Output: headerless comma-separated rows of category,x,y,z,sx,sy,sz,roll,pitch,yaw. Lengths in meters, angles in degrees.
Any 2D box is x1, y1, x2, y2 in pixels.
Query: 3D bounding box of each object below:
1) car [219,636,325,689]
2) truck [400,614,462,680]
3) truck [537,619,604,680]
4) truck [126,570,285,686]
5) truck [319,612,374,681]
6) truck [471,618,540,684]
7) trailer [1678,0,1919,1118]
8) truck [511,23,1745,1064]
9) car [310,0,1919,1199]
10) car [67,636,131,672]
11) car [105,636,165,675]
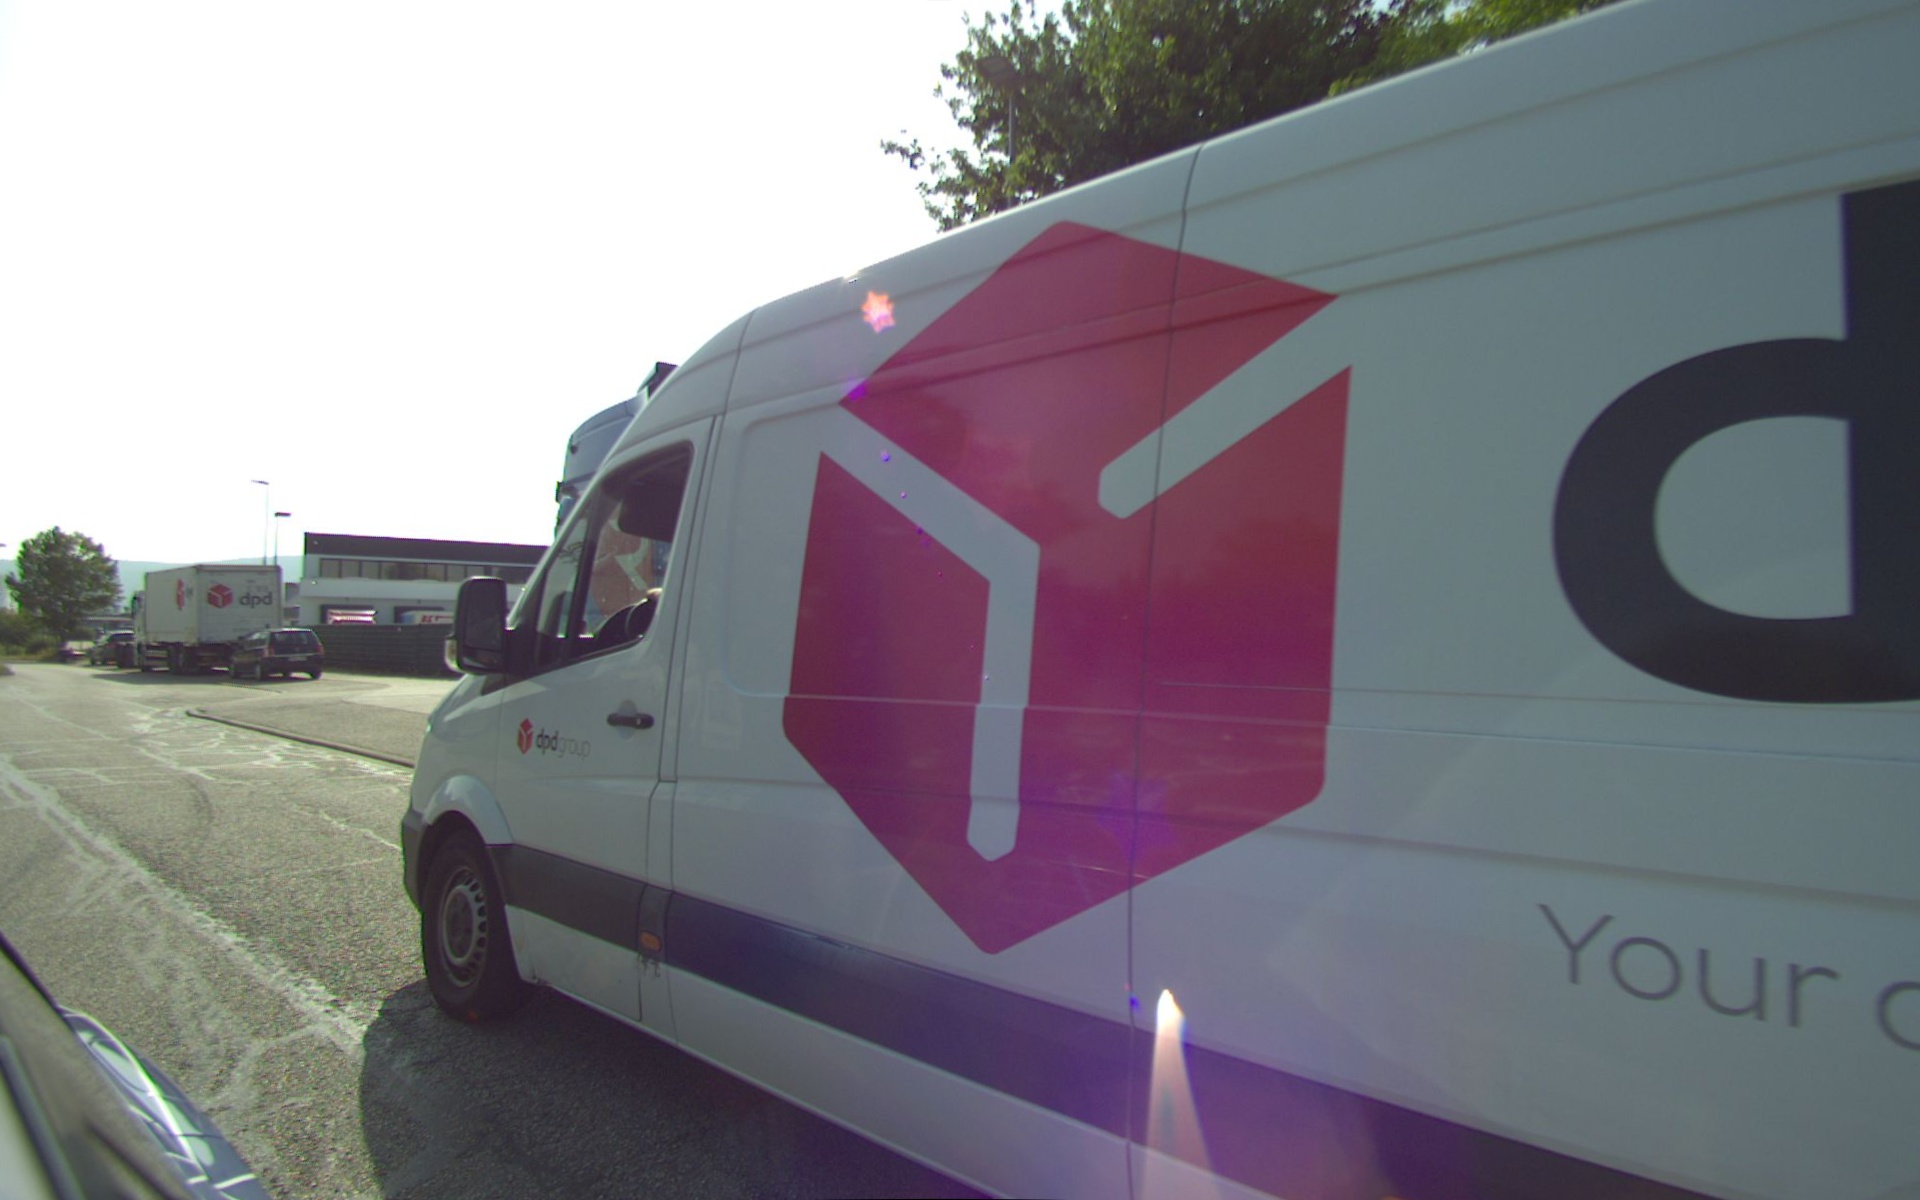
car,-22.248,1.974,32.687,4.189,1.604,1.745,-2,-2,40
truck,-35.898,3.185,68.470,2.989,4.168,9.266,3,-4,-31
truck,-28.289,3.590,73.227,2.860,4.087,9.266,3,-4,-31
truck,-28.755,1.035,38.342,10.056,3.883,2.748,-2,-1,41
truck,-38.672,2.955,63.900,2.613,4.009,9.266,3,-4,-31
truck,-31.250,3.473,69.272,2.743,4.076,12.390,3,-4,-31
trailer,7.270,-0.301,1.614,9.758,3.914,2.672,-1,-2,41
truck,0.001,-0.124,8.003,9.631,3.914,2.684,-1,-2,41
car,0.549,0.282,2.788,6.986,2.566,1.972,-2,-5,41
car,-40.662,2.529,47.755,3.964,1.594,1.713,-2,-2,41
car,-35.627,2.374,43.685,3.166,1.619,1.423,-1,-3,41
